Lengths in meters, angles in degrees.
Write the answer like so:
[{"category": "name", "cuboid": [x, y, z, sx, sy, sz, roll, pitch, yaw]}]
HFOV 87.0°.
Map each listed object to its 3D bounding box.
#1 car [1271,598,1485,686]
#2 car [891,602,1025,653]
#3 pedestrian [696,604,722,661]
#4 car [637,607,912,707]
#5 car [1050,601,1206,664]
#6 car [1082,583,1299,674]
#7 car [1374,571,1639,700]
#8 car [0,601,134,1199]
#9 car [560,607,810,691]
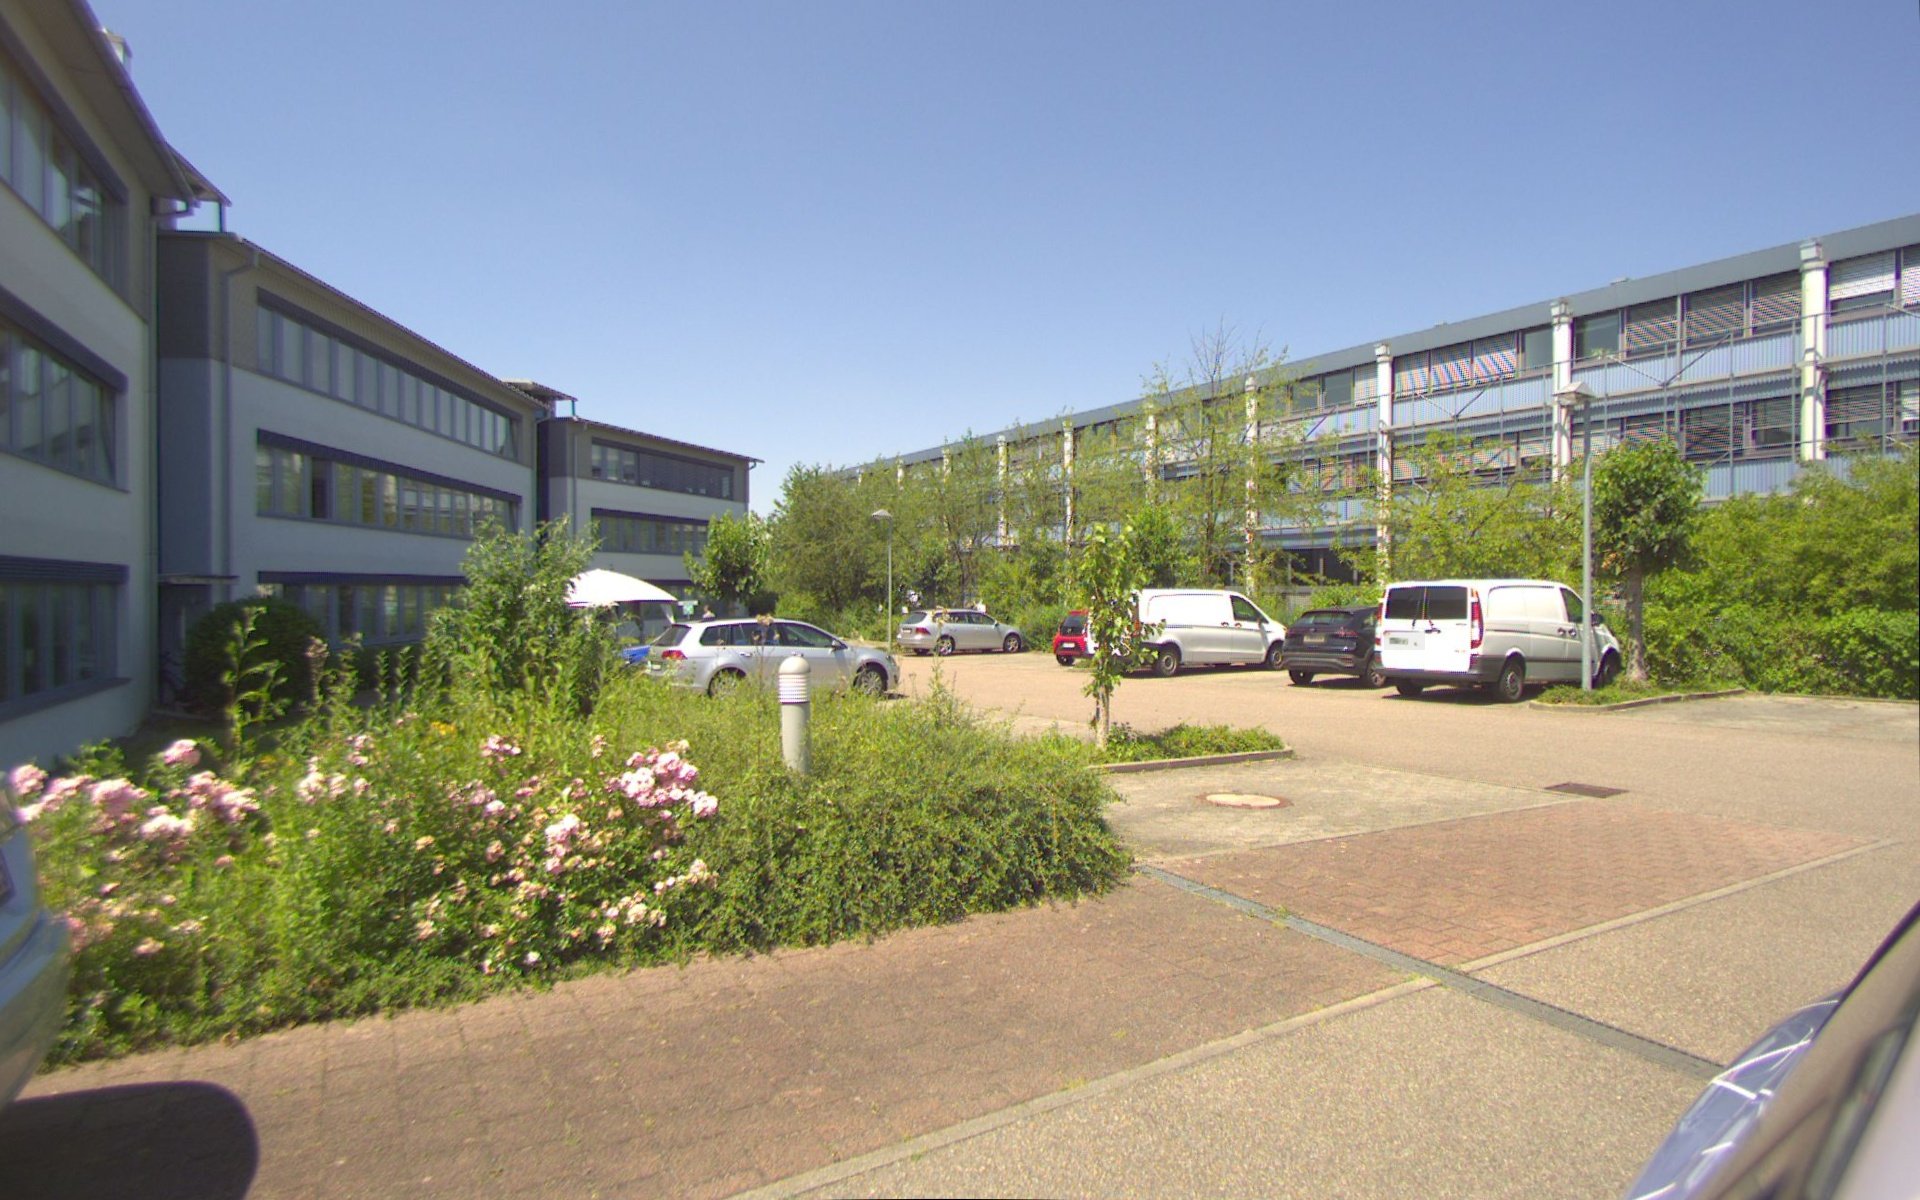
[{"category": "car", "cuboid": [8.023, 0.734, 19.330, 4.116, 1.503, 1.740, 0, 0, -32]}, {"category": "car", "cuboid": [-0.055, 0.847, 32.662, 4.003, 1.503, 1.741, 0, 0, -29]}, {"category": "pedestrian", "cuboid": [-8.089, 1.028, 32.667, 0.684, 1.779, 0.778, -1, 0, -7]}, {"category": "car", "cuboid": [-3.170, 0.896, 17.599, 4.340, 1.539, 1.858, 0, -1, -32]}, {"category": "car", "cuboid": [4.376, 0.795, 26.235, 3.843, 1.507, 1.626, -1, 0, -30]}, {"category": "car", "cuboid": [5.270, 0.572, 22.944, 4.836, 1.879, 1.858, -1, 0, -30]}, {"category": "car", "cuboid": [9.116, 0.505, 16.781, 4.585, 1.884, 1.869, 0, -1, -33]}, {"category": "car", "cuboid": [-3.937, 0.725, 1.183, 4.330, 1.416, 1.807, 0, 0, -29]}, {"category": "car", "cuboid": [-5.479, 0.910, 20.351, 4.522, 1.513, 1.858, 0, -1, -32]}]
